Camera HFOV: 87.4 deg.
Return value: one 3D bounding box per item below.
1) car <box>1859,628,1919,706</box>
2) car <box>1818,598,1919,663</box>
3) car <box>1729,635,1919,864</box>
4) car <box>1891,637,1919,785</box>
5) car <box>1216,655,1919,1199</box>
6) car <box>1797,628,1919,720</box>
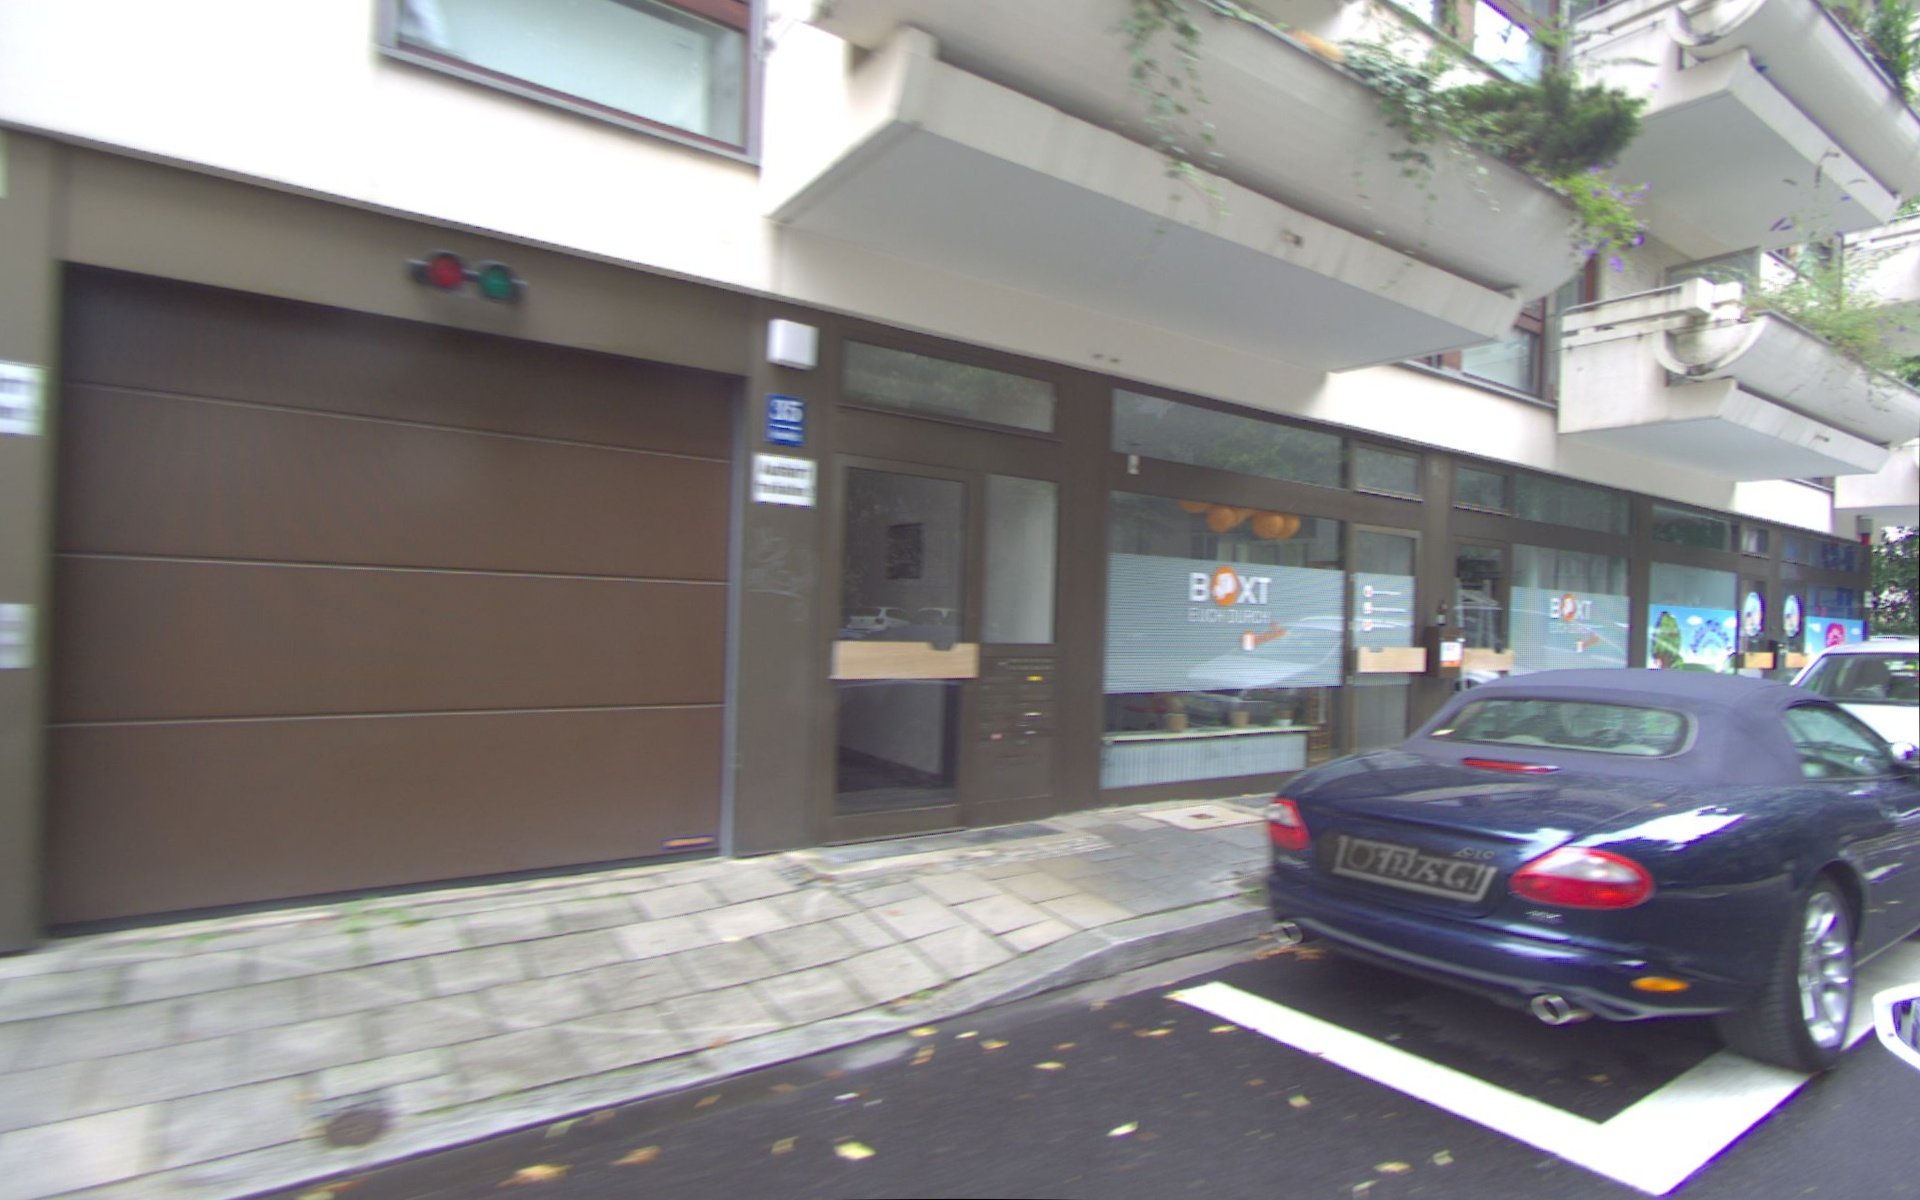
[{"bbox_3d":[17.605,1.200,17.022,3.406,1.302,1.524,2,0,39],"label":"car"},{"bbox_3d":[24.995,0.818,27.350,3.964,1.623,1.687,2,0,-38],"label":"car"},{"bbox_3d":[7.468,1.003,7.679,3.797,1.440,1.550,2,-2,-37],"label":"car"},{"bbox_3d":[11.351,1.069,8.970,1.704,1.474,4.200,1,-3,-35],"label":"car"},{"bbox_3d":[3.381,0.941,4.631,4.572,1.295,1.785,2,-2,-36],"label":"car"},{"bbox_3d":[18.346,1.434,19.367,3.245,1.653,1.505,2,0,36],"label":"car"}]
